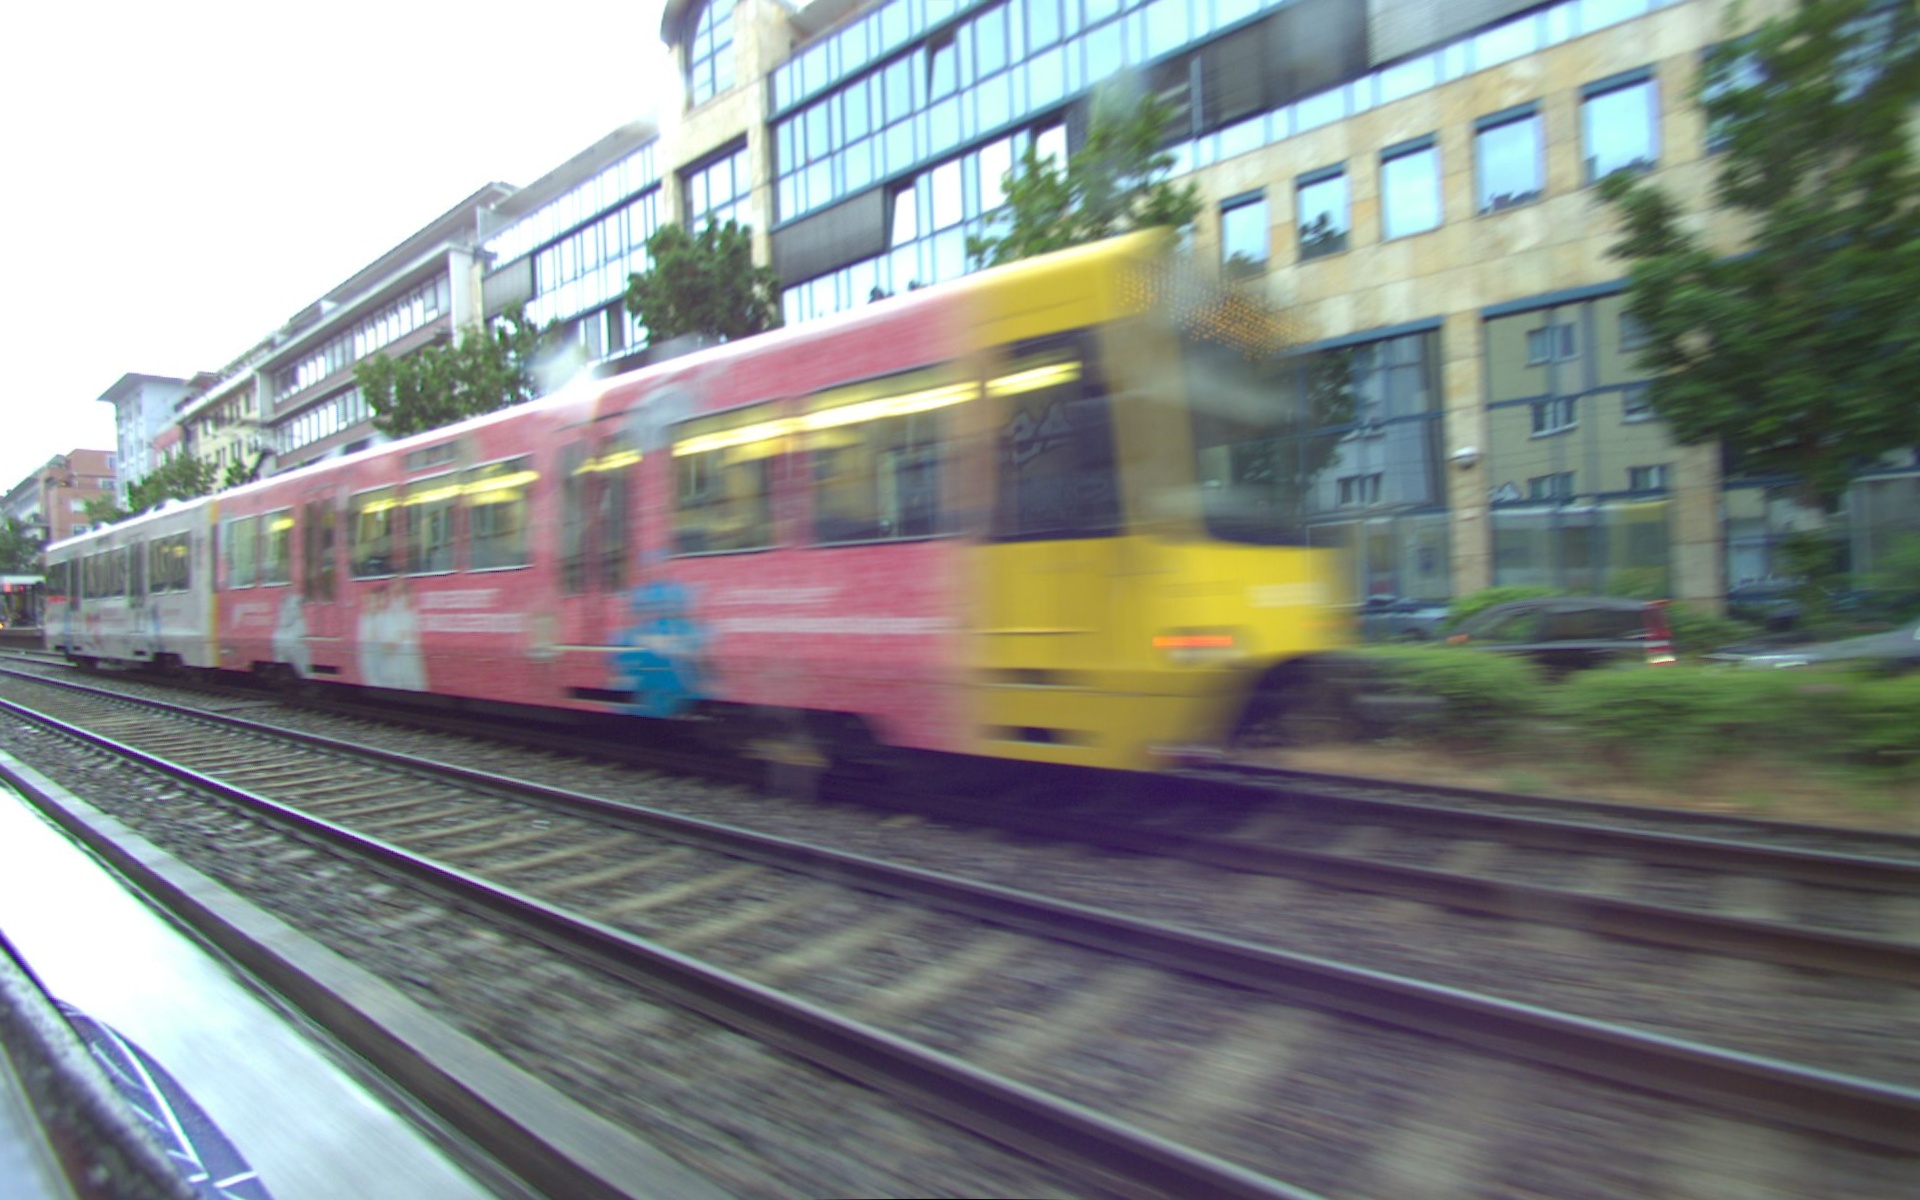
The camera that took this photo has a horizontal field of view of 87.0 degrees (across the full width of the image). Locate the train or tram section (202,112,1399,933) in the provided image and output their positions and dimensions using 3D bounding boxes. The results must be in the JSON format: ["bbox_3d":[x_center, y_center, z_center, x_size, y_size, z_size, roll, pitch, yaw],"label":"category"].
[{"bbox_3d":[-4.911,-0.315,12.260,18.756,4.081,2.872,-1,0,41],"label":"train or tram section"}]

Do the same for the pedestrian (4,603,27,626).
[{"bbox_3d":[-58.150,0.863,62.324,0.637,1.396,0.946,-1,0,38],"label":"pedestrian"}]

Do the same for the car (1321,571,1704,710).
[{"bbox_3d":[6.902,0.487,12.853,3.996,1.497,1.672,-3,0,39],"label":"car"}]

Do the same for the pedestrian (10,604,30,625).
[{"bbox_3d":[-57.564,0.870,62.004,0.637,1.265,0.805,-1,0,38],"label":"pedestrian"}]

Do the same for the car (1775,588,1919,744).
[{"bbox_3d":[10.733,0.603,9.852,4.290,1.497,1.672,-3,0,39],"label":"car"}]

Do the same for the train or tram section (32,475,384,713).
[{"bbox_3d":[-19.031,-0.028,24.457,18.400,4.081,2.872,-1,0,41],"label":"train or tram section"}]
